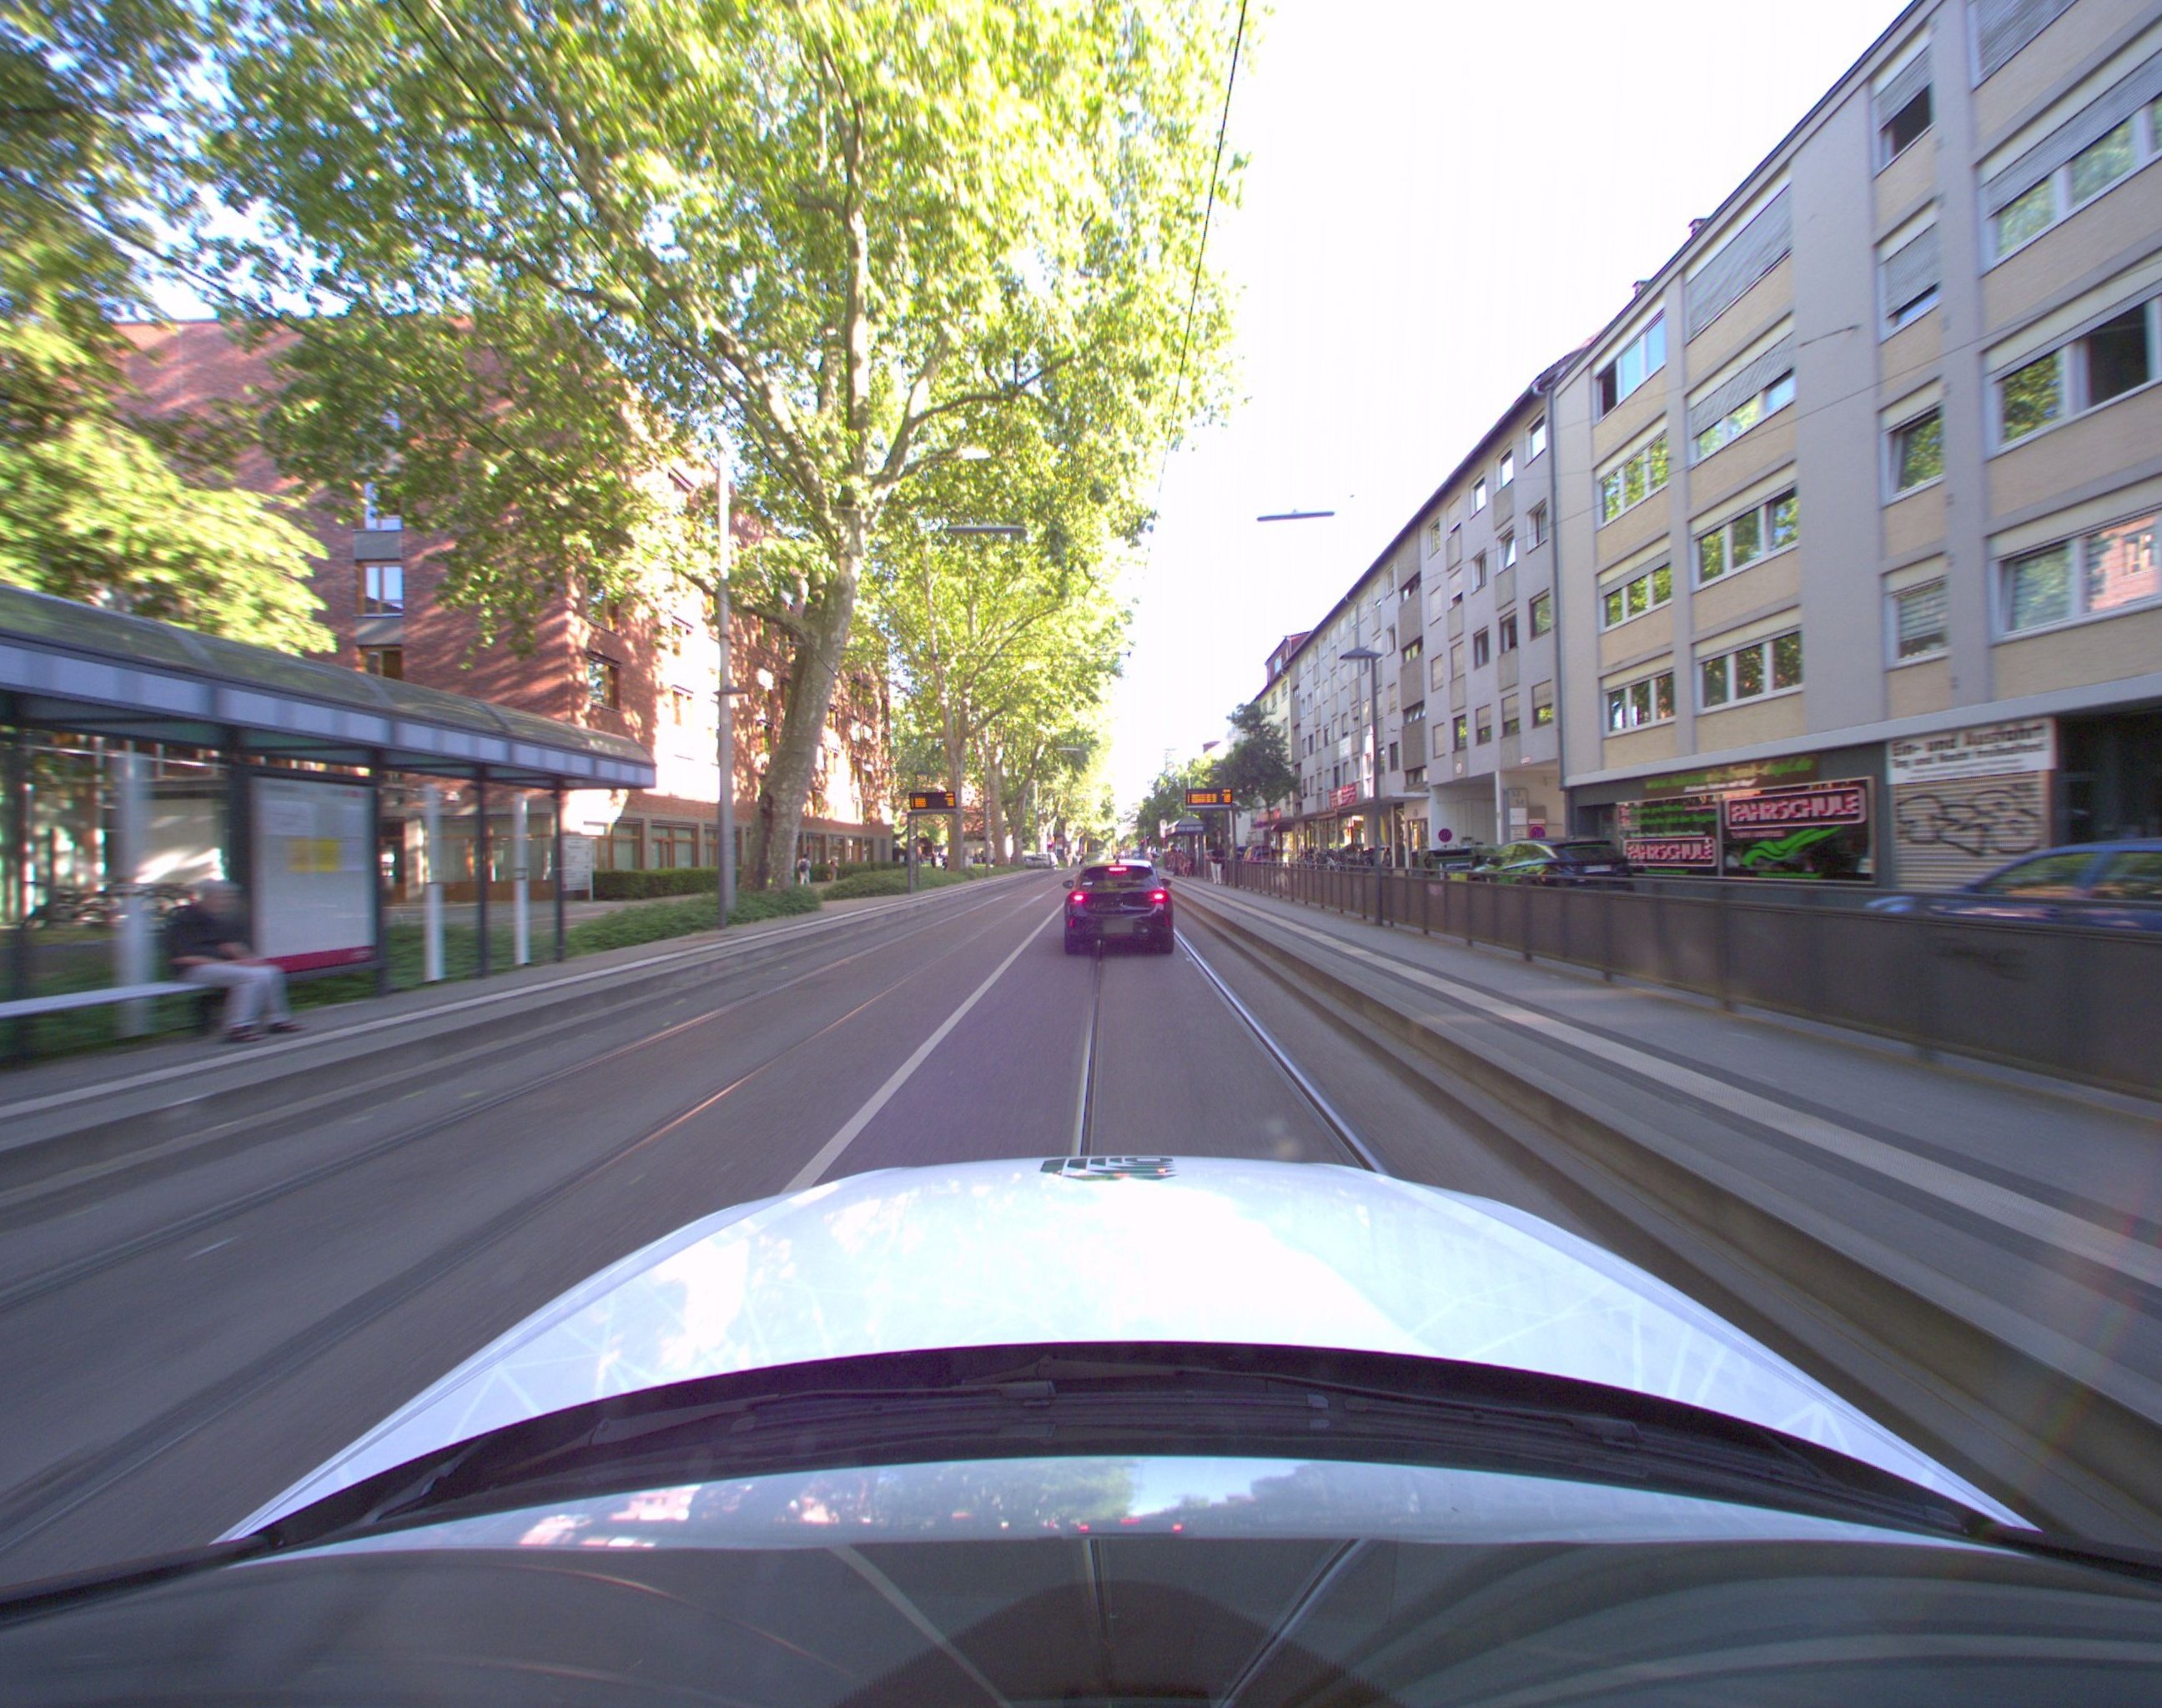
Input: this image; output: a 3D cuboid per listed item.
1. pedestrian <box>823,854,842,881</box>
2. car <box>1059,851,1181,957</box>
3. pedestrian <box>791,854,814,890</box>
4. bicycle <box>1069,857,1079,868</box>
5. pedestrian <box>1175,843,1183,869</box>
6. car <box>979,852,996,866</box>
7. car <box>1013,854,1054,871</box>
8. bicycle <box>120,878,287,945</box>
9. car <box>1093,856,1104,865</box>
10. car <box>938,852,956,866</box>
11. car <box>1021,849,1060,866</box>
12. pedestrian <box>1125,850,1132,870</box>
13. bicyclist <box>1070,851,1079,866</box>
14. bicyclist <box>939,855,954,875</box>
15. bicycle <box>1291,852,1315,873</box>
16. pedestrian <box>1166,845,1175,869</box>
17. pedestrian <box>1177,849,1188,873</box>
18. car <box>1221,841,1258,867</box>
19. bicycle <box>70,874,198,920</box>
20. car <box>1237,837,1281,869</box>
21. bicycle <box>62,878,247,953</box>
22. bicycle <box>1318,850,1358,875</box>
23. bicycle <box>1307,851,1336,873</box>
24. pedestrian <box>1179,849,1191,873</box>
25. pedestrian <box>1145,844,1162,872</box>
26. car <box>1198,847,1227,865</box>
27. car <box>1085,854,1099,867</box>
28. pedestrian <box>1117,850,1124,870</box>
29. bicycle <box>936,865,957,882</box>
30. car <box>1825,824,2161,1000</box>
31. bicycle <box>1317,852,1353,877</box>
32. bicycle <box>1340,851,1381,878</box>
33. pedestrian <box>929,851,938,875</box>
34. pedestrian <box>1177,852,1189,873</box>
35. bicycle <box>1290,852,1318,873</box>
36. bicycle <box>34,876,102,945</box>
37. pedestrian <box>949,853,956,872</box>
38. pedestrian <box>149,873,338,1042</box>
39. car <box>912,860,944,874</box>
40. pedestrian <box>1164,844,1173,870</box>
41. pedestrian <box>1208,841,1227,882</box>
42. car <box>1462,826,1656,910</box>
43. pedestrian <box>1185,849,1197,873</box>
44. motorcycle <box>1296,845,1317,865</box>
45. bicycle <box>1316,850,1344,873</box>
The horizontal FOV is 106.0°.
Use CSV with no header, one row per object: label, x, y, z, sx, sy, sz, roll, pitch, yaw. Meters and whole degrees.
pedestrian,-14.762,0.790,48.428,0.772,1.605,0.946,0,-1,2
car,0.568,0.747,13.841,1.754,1.508,3.682,-2,-1,0
pedestrian,-12.884,0.821,37.718,0.732,1.672,0.861,0,-1,2
bicycle,-0.815,0.968,94.648,0.950,1.240,2.982,-1,-1,5
pedestrian,6.721,0.120,55.811,0.529,1.763,0.662,0,-1,4
car,-14.534,0.795,126.964,1.986,2.014,4.002,0,-1,2
car,-4.883,0.887,82.912,4.108,1.701,1.880,0,-1,-6
bicycle,-15.979,1.040,14.864,2.331,1.166,0.682,0,-1,2
car,3.295,1.229,153.069,1.987,1.693,4.000,0,-1,0
car,-20.707,0.777,126.388,1.986,2.014,4.002,0,-1,2
car,-4.681,0.428,94.004,4.378,1.851,1.996,0,-1,-6
pedestrian,4.999,0.628,85.911,0.670,2.013,0.704,1,0,13
bicyclist,-0.733,0.512,95.545,0.936,1.703,1.154,-1,-1,5
bicyclist,-9.916,0.802,60.105,0.951,1.491,0.838,0,-1,2
bicycle,12.381,0.462,45.425,0.596,1.136,2.201,0,-1,-4
pedestrian,6.209,0.211,56.548,0.529,1.709,0.596,0,-1,4
pedestrian,5.418,0.367,43.638,0.501,1.304,0.428,0,-1,-3
car,11.418,0.030,58.873,1.986,1.797,4.001,0,-1,1
bicycle,-23.248,1.044,20.038,1.943,1.073,0.761,0,-1,-15
car,11.395,-0.056,52.378,1.986,1.952,4.001,0,-1,1
bicycle,-16.085,1.049,14.167,2.448,1.219,0.682,1,-1,2
bicycle,12.329,0.416,39.204,0.611,1.136,2.912,0,-1,-9
bicycle,12.710,0.440,43.067,0.597,1.136,2.197,0,-1,-9
pedestrian,5.654,0.393,44.208,0.533,1.304,0.550,0,-1,-3
pedestrian,4.533,0.260,51.099,0.742,1.709,0.768,-1,-1,36
car,11.476,0.177,71.175,1.986,1.486,4.002,0,-1,2
car,1.358,0.852,103.070,1.739,1.544,4.000,0,-1,0
pedestrian,4.188,0.632,86.222,0.671,2.013,0.703,1,0,8
bicycle,-9.911,1.422,60.056,0.951,1.240,2.979,0,-1,2
car,9.732,0.475,7.639,1.737,1.440,4.249,0,-1,2
bicycle,11.834,0.475,38.015,0.602,1.136,2.427,0,-1,-9
bicycle,12.162,0.445,35.569,0.621,1.136,2.431,0,-1,-9
pedestrian,-12.262,0.745,67.684,0.493,1.950,0.677,-1,-1,14
pedestrian,5.376,0.461,43.104,0.533,1.099,0.550,0,-1,-3
bicycle,12.039,0.454,44.094,0.597,1.136,2.197,0,-1,-9
bicycle,-19.329,1.047,15.562,1.481,1.219,0.686,-1,-1,43
pedestrian,-13.311,0.922,84.488,0.670,1.950,0.498,1,0,-2
pedestrian,-6.290,0.747,6.153,0.703,1.168,0.659,-2,-1,-2
car,-22.303,1.884,118.791,4.234,2.014,2.001,0,-1,1
pedestrian,5.934,0.210,55.123,0.529,1.709,0.753,0,-1,4
pedestrian,5.362,0.305,32.048,0.628,1.576,0.871,1,0,2
car,10.362,0.291,18.094,1.850,1.615,4.400,0,-1,2
pedestrian,5.749,0.379,42.551,0.533,1.230,0.510,0,-1,-3
motorcycle,14.662,0.047,53.031,0.888,1.280,2.044,0,-1,2
bicycle,12.573,0.398,41.220,0.410,1.136,2.197,0,-1,-9
